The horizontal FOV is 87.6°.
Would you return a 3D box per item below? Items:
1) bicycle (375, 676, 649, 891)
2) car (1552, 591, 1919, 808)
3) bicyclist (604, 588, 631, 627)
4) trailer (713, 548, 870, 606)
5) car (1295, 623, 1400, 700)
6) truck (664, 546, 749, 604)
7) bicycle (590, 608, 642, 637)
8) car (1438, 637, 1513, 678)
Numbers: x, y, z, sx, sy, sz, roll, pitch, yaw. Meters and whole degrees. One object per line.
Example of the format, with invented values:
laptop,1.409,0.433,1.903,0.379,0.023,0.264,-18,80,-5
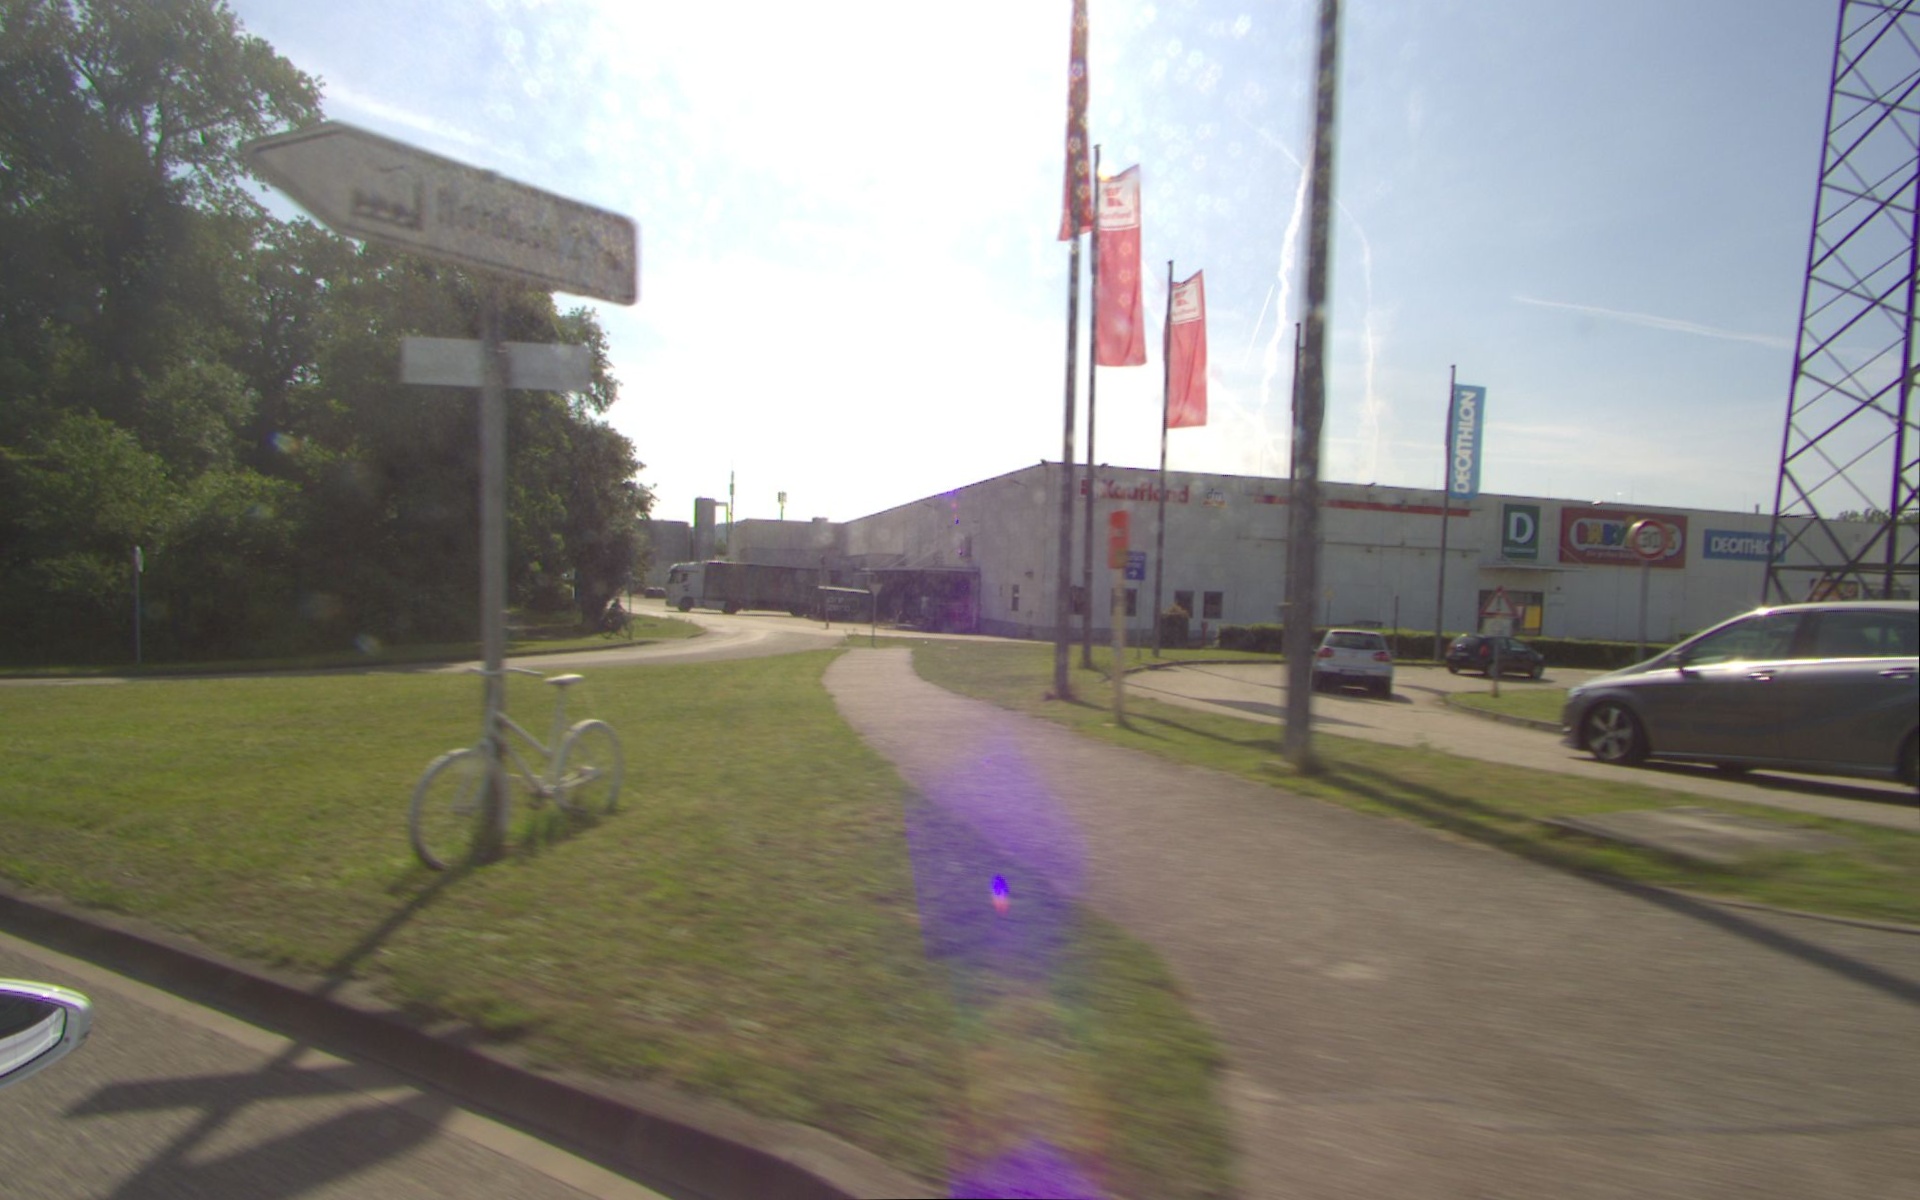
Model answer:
bicycle,-2.483,0.968,5.793,0.266,0.901,1.785,0,1,20
car,7.452,0.819,8.380,1.830,1.547,4.138,4,-4,-17
bicyclist,-14.046,0.305,41.058,0.833,1.555,0.674,3,3,26
trailer,-14.191,-1.884,84.293,12.498,4.477,3.745,1,2,-19
car,9.140,1.415,23.929,1.828,1.549,4.141,3,-1,15
truck,-20.789,-2.024,81.998,6.454,4.478,3.745,1,2,-19
bicycle,-14.114,0.913,41.109,2.151,0.991,0.723,4,3,27
car,18.998,2.113,36.815,1.757,1.349,3.716,2,-1,38
